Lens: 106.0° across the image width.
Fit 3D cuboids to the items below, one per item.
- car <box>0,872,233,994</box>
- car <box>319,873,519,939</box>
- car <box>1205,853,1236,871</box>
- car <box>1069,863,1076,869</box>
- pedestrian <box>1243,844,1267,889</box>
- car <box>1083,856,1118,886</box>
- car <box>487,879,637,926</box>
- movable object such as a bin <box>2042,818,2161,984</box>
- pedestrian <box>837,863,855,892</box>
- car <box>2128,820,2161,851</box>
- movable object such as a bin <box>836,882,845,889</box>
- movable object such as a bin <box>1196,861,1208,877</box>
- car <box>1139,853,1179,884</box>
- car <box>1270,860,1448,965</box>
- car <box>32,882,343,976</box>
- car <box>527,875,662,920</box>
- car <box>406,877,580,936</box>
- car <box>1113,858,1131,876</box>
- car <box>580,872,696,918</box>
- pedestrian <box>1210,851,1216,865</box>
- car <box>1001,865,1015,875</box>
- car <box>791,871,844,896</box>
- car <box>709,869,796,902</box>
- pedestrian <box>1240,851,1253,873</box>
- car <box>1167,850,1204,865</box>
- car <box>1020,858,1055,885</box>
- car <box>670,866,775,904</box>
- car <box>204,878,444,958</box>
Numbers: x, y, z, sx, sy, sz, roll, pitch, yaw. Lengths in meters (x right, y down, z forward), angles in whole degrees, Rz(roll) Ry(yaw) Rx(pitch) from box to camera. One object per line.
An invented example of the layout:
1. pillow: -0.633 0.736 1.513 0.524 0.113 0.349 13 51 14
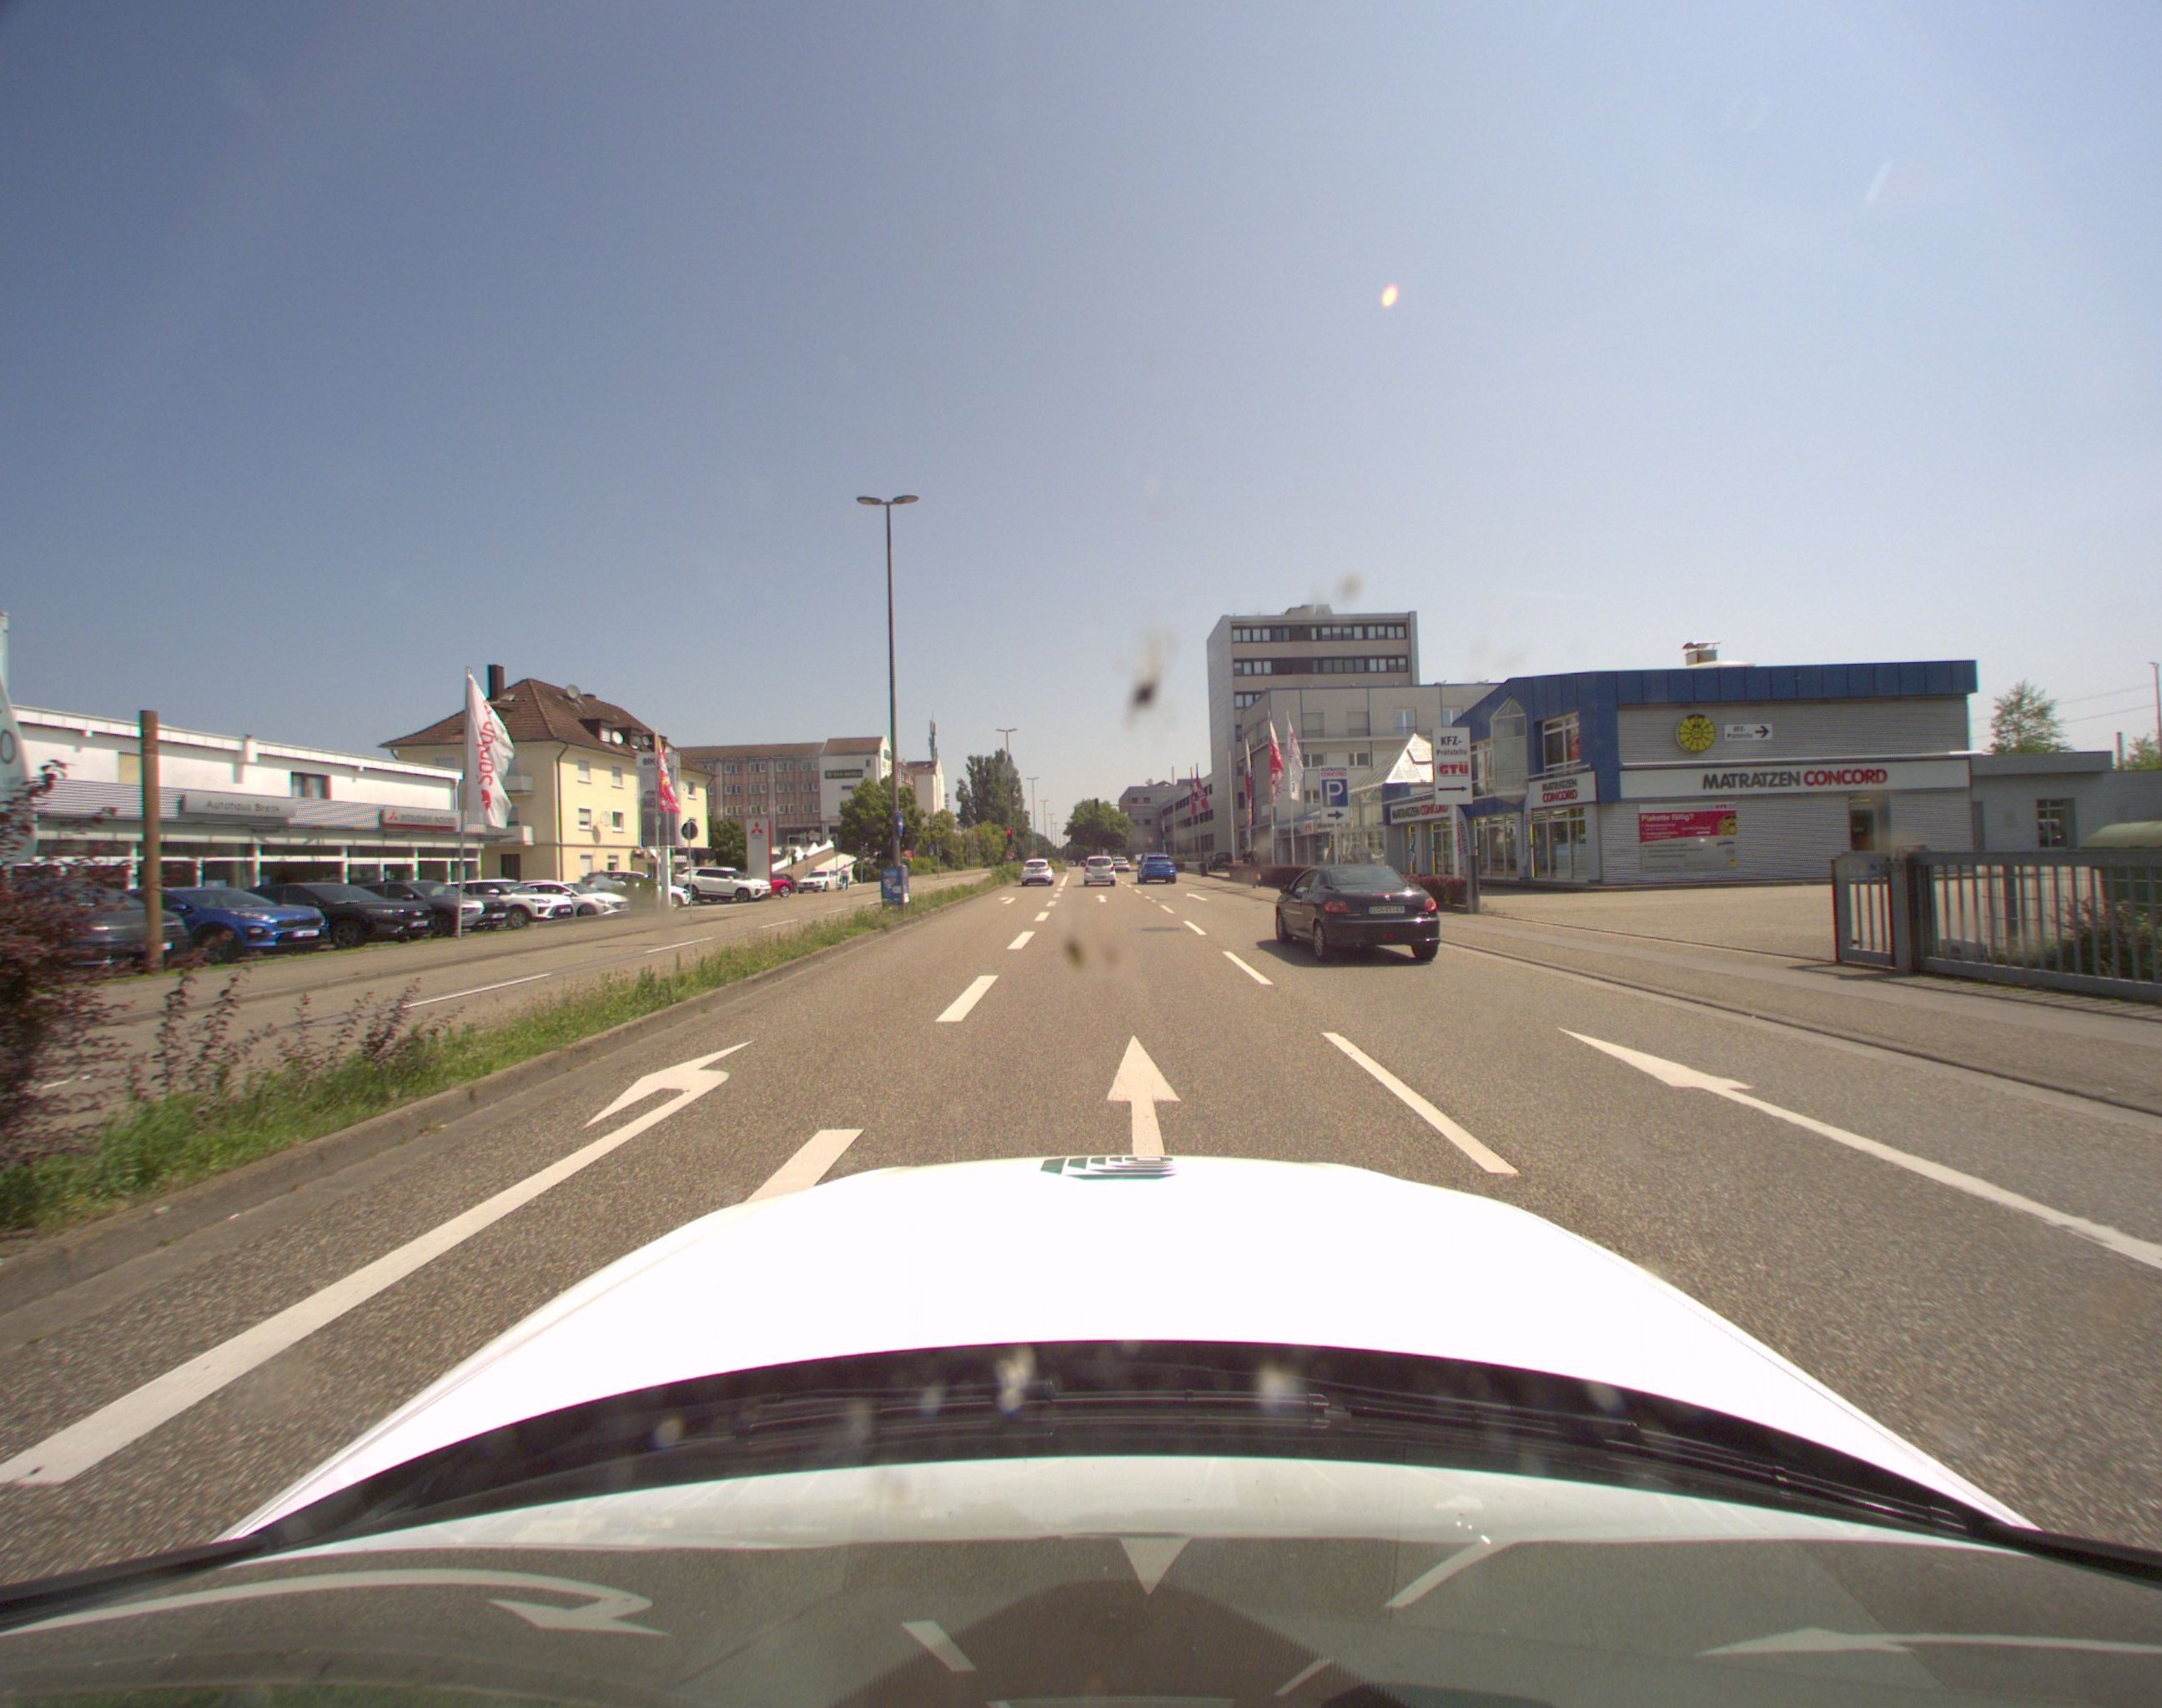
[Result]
1. car: -17.982 1.357 14.277 3.977 1.882 1.998 -2 -1 -2
2. car: -18.311 1.416 22.668 3.977 1.568 1.758 -2 -1 -2
3. car: 11.774 0.675 68.844 1.838 1.531 4.195 0 0 0
4. car: -2.591 3.670 245.064 1.814 1.662 3.997 -2 -1 -2
5. pedestrian: 7.352 0.514 34.459 0.782 1.847 0.936 -2 -1 2
6. car: 1.007 0.867 43.002 1.742 1.520 3.746 -1 0 1
7. car: -18.101 1.677 28.559 3.977 1.394 1.858 -2 0 -2
8. movable object such as a bin: 10.201 0.401 7.403 1.127 1.470 1.489 -2 0 0
9. pedestrian: -14.871 1.482 51.509 0.738 1.747 1.034 -2 -1 2
10. car: 55.570 -1.006 40.652 3.974 1.530 2.000 -2 0 0
11. movable object such as a bin: -15.066 1.980 51.015 0.415 0.372 0.506 -2 0 1
12. movable object such as a bin: 7.519 0.949 50.664 0.549 0.919 0.652 -5 -1 0
13. car: 4.207 0.774 44.580 1.822 1.580 3.605 -2 0 0
14. car: 4.137 0.790 12.695 1.621 1.364 3.607 -1 0 2
15. car: -18.312 1.491 16.879 3.977 1.608 2.087 -2 0 -2
16. car: -18.376 1.629 30.885 3.977 1.467 1.758 -2 -1 -2
17. car: -18.430 1.615 25.666 3.977 1.608 1.924 -2 -1 -2
18. car: 3.843 1.193 76.479 1.553 1.520 3.607 -2 0 2
19. car: -18.337 1.639 33.776 4.019 1.624 1.740 -2 0 -37
20. pedestrian: 15.512 0.469 95.669 0.589 1.634 0.524 -3 -1 7
21. car: -11.439 2.517 128.413 1.989 1.486 4.495 -2 0 -4
22. car: -17.537 1.930 54.380 1.769 1.410 4.761 -2 0 2
23. car: -18.556 1.781 46.178 1.816 1.642 4.205 -3 -1 38
24. pedestrian: 12.721 0.619 62.509 0.807 1.627 0.853 -2 0 2
25. car: 13.177 0.435 102.793 4.253 1.689 1.996 -2 0 -6
26. car: -2.378 0.947 45.500 1.683 1.434 3.710 -2 0 0
27. car: -18.398 1.566 41.983 4.535 1.709 1.758 -2 0 -3
28. car: -18.092 1.497 19.615 3.977 1.608 1.758 -3 0 -2
